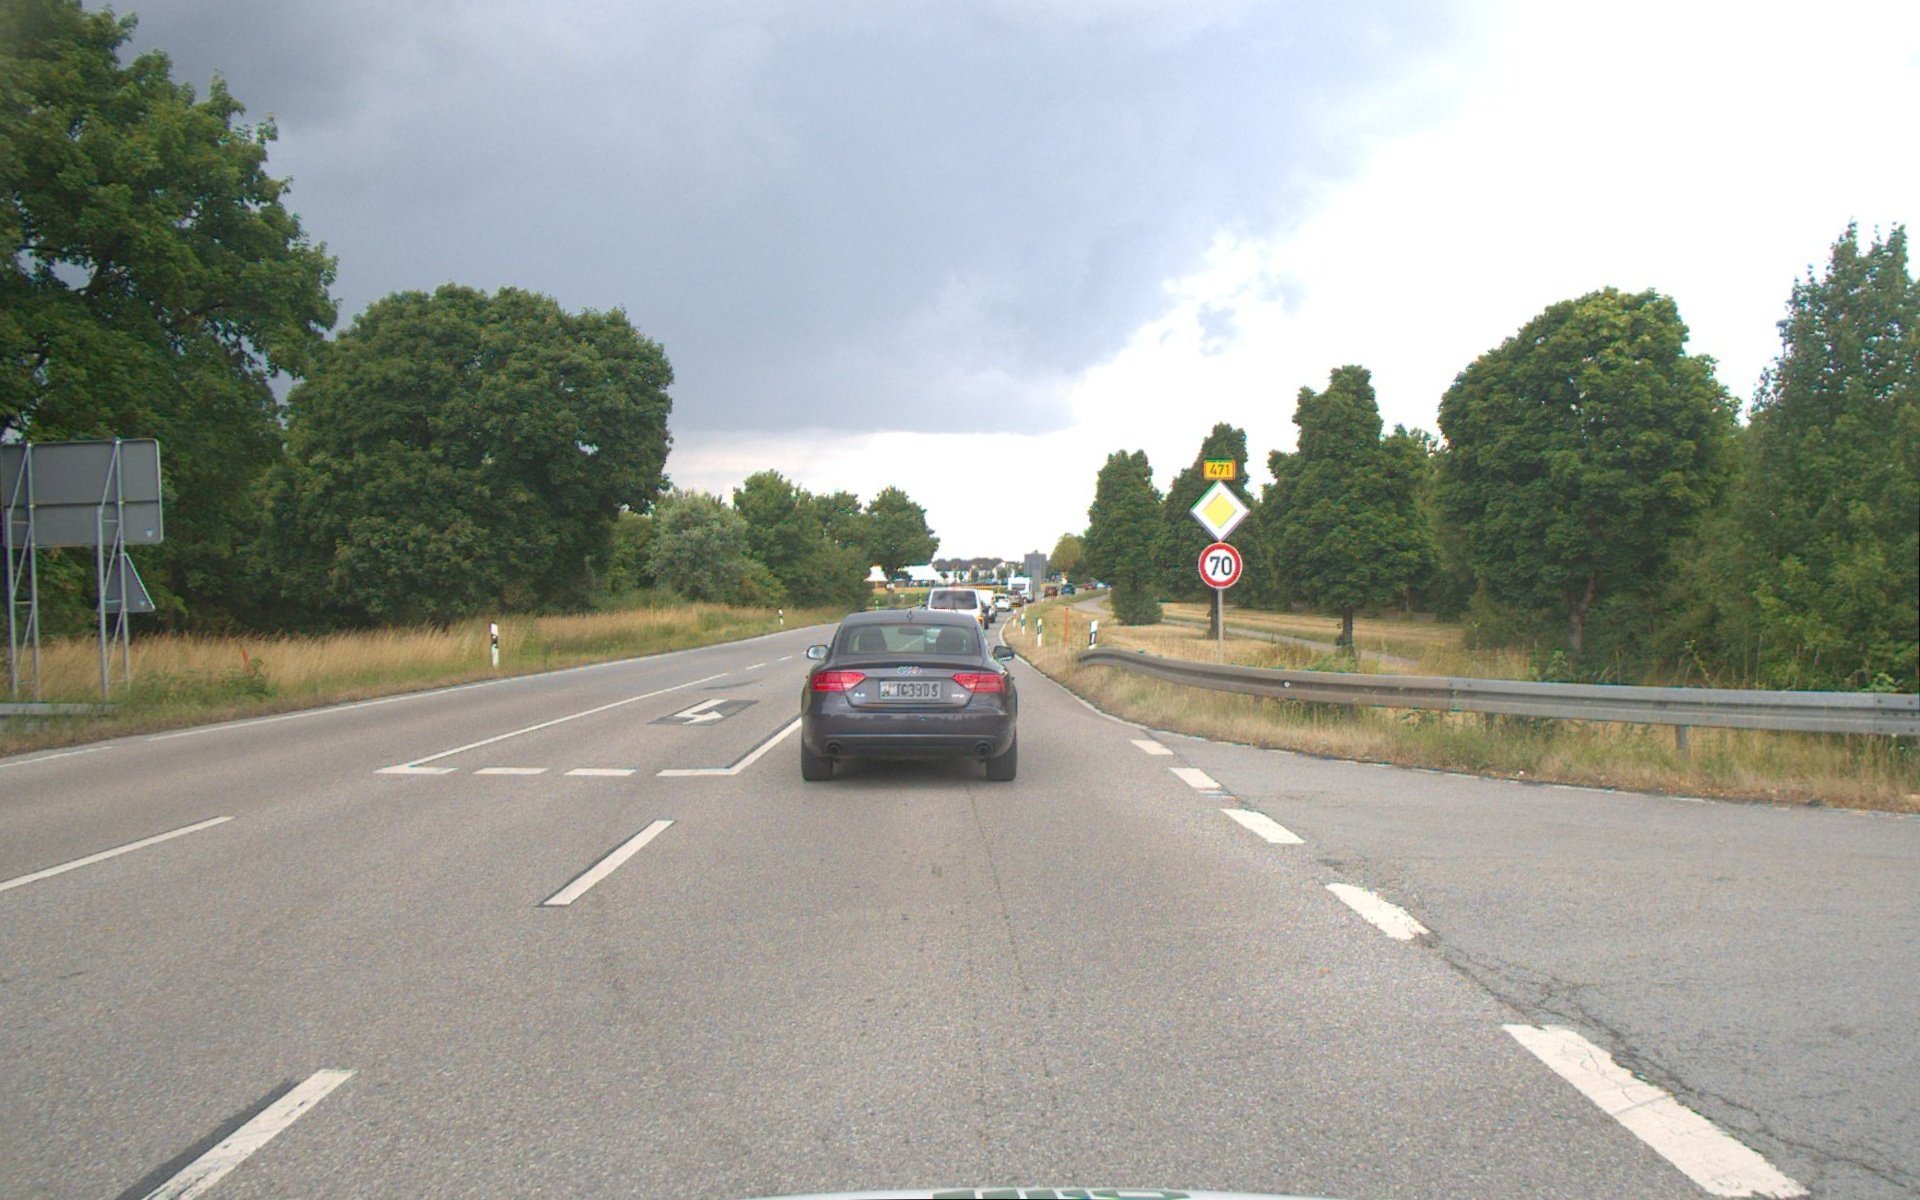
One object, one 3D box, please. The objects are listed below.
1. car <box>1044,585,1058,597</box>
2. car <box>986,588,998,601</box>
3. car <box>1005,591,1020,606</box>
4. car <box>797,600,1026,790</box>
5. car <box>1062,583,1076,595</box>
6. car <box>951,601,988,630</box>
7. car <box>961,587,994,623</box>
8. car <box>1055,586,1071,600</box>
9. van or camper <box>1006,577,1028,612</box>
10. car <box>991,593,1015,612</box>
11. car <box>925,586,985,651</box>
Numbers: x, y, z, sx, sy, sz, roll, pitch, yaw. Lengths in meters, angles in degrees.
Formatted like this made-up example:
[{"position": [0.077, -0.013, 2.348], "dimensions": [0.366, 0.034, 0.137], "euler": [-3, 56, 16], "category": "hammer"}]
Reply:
[{"position": [11.890, -1.182, 215.796], "dimensions": [1.683, 1.477, 4.000], "euler": [1, 0, 0], "category": "car"}, {"position": [4.477, -0.772, 228.422], "dimensions": [1.562, 1.834, 3.200], "euler": [1, 0, 0], "category": "car"}, {"position": [4.886, -0.147, 153.317], "dimensions": [1.231, 1.377, 3.468], "euler": [0, 0, 5], "category": "car"}, {"position": [-0.404, 0.735, 14.705], "dimensions": [1.746, 1.400, 3.999], "euler": [1, 1, -1], "category": "car"}, {"position": [15.011, -1.453, 227.976], "dimensions": [1.784, 1.624, 4.000], "euler": [1, 0, 0], "category": "car"}, {"position": [0.514, 0.789, 86.189], "dimensions": [1.758, 1.489, 3.249], "euler": [0, 0, 3], "category": "car"}, {"position": [1.099, 0.294, 101.682], "dimensions": [1.952, 2.125, 4.001], "euler": [0, 0, 2], "category": "car"}, {"position": [14.997, -1.067, 240.375], "dimensions": [1.953, 2.049, 3.999], "euler": [0, 0, -1], "category": "car"}, {"position": [5.957, -0.590, 172.593], "dimensions": [2.292, 3.542, 5.720], "euler": [0, 0, 2], "category": "van or camper"}, {"position": [3.571, 0.210, 137.096], "dimensions": [1.699, 1.541, 3.749], "euler": [0, 0, 5], "category": "car"}, {"position": [-0.188, 0.534, 51.747], "dimensions": [1.801, 1.915, 3.999], "euler": [1, 0, -1], "category": "car"}]
